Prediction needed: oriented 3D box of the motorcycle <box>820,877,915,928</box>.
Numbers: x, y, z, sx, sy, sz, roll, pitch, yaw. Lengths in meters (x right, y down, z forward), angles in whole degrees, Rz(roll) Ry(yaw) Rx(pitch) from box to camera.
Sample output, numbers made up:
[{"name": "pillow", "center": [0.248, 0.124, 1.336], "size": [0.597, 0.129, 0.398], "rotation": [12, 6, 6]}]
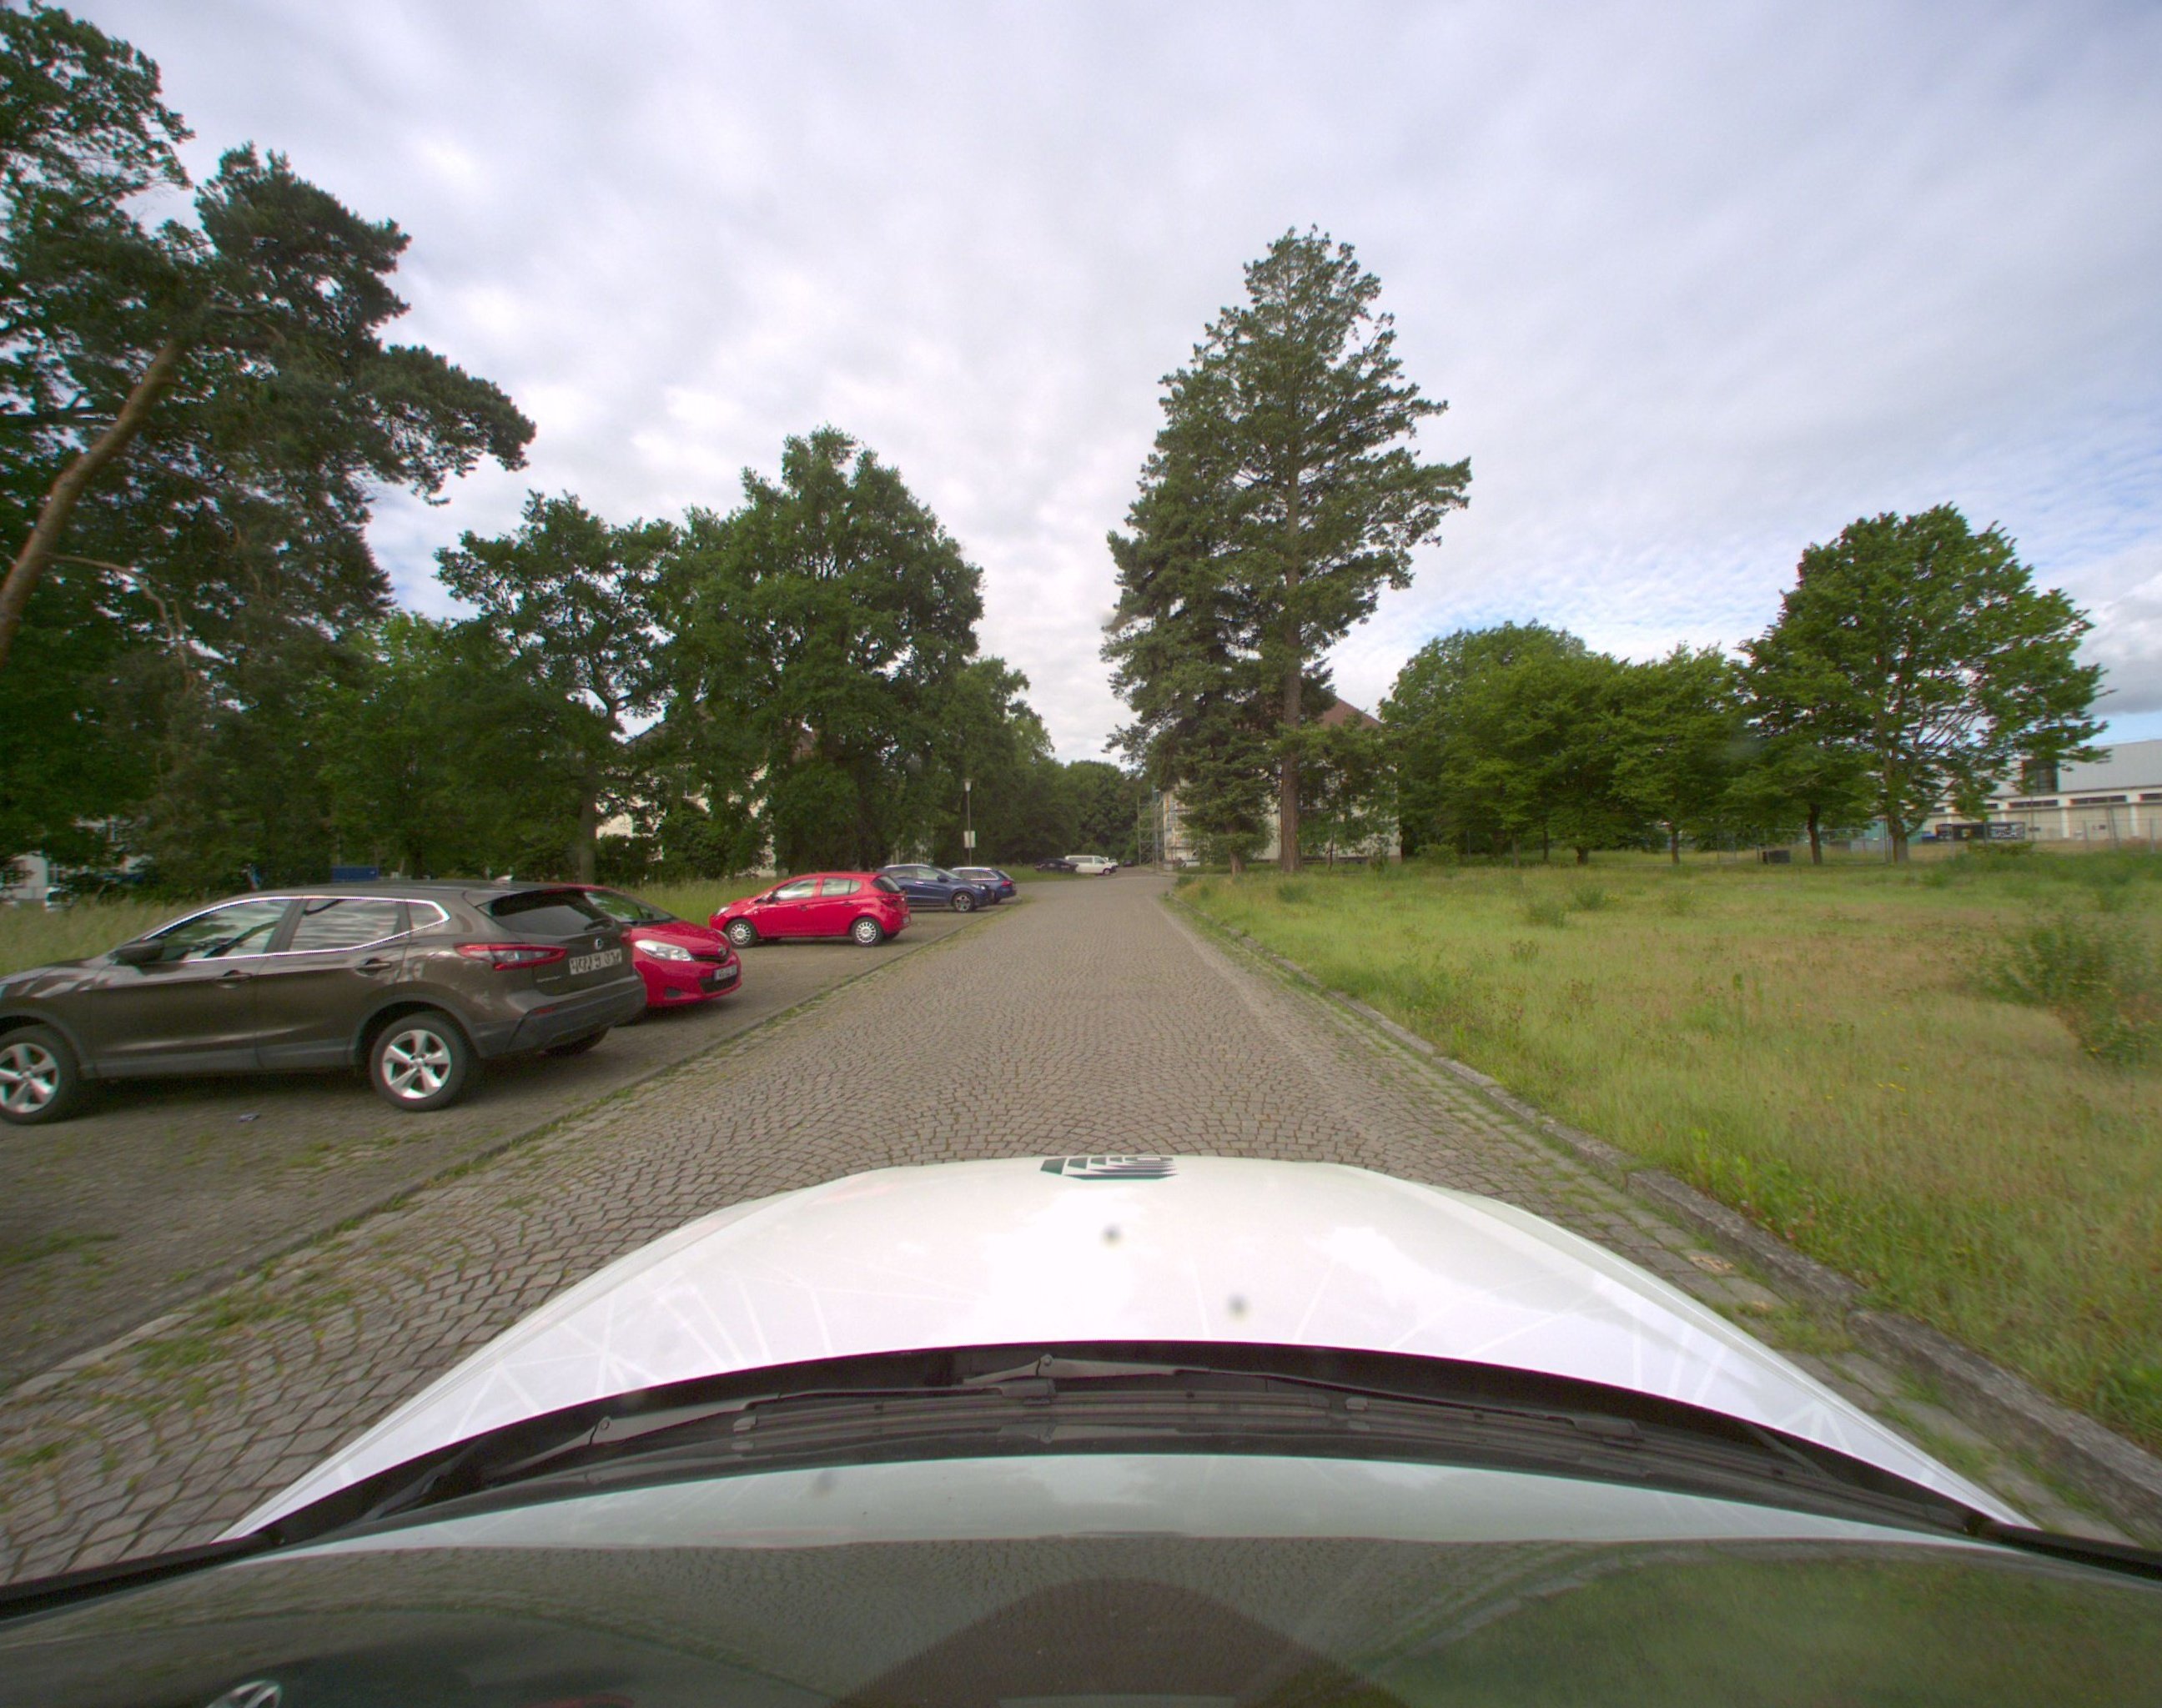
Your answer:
[{"name": "motorcycle", "center": [-5.591, 1.270, 21.382], "size": [2.265, 1.292, 0.719], "rotation": [-1, -1, 2]}]

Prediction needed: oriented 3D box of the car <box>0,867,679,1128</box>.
[{"name": "car", "center": [-5.830, 0.994, 6.533], "size": [4.154, 1.622, 1.986], "rotation": [-2, -1, -1]}]

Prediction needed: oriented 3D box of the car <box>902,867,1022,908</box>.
[{"name": "car", "center": [-4.603, 1.285, 31.860], "size": [4.285, 1.461, 1.976], "rotation": [-1, 0, 3]}]

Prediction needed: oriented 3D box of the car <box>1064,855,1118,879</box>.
[{"name": "car", "center": [0.947, 1.320, 80.584], "size": [5.219, 2.168, 1.999], "rotation": [-2, -1, -1]}]

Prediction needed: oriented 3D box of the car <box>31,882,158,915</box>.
[{"name": "car", "center": [-66.981, 2.988, 55.457], "size": [1.984, 2.014, 5.236], "rotation": [-2, -1, 5]}]

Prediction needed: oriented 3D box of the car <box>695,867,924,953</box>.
[{"name": "car", "center": [-5.511, 1.116, 16.903], "size": [4.041, 1.525, 1.905], "rotation": [-2, -1, 0]}]

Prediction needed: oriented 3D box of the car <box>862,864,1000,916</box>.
[{"name": "car", "center": [-4.922, 1.169, 27.132], "size": [4.214, 1.577, 1.887], "rotation": [-1, 0, 0]}]

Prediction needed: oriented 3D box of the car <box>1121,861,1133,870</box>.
[{"name": "car", "center": [8.353, 2.016, 146.738], "size": [1.944, 1.522, 4.000], "rotation": [-2, -1, 0]}]

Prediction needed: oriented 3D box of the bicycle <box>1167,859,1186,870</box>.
[{"name": "bicycle", "center": [11.168, 1.256, 95.221], "size": [2.230, 1.254, 0.778], "rotation": [-2, -1, 4]}]

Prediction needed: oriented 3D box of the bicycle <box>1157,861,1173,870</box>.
[{"name": "bicycle", "center": [12.013, 1.664, 116.748], "size": [2.230, 1.254, 0.627], "rotation": [-2, -1, 4]}]

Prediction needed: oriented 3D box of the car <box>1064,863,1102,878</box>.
[{"name": "car", "center": [0.193, 1.688, 83.191], "size": [3.778, 1.395, 1.999], "rotation": [-2, -1, -1]}]

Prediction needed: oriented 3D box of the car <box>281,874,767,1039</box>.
[{"name": "car", "center": [-6.066, 1.073, 9.280], "size": [4.152, 1.510, 1.907], "rotation": [-2, -1, 0]}]

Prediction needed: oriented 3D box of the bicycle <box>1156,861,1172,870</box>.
[{"name": "bicycle", "center": [12.133, 1.706, 119.108], "size": [2.230, 1.254, 0.635], "rotation": [-2, -1, 4]}]

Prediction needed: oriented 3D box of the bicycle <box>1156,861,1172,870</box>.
[{"name": "bicycle", "center": [12.096, 1.690, 118.264], "size": [2.230, 1.254, 0.699], "rotation": [-2, -1, 4]}]

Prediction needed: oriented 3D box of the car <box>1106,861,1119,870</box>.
[{"name": "car", "center": [5.677, 2.116, 146.504], "size": [2.111, 1.522, 4.000], "rotation": [-2, -1, 1]}]
